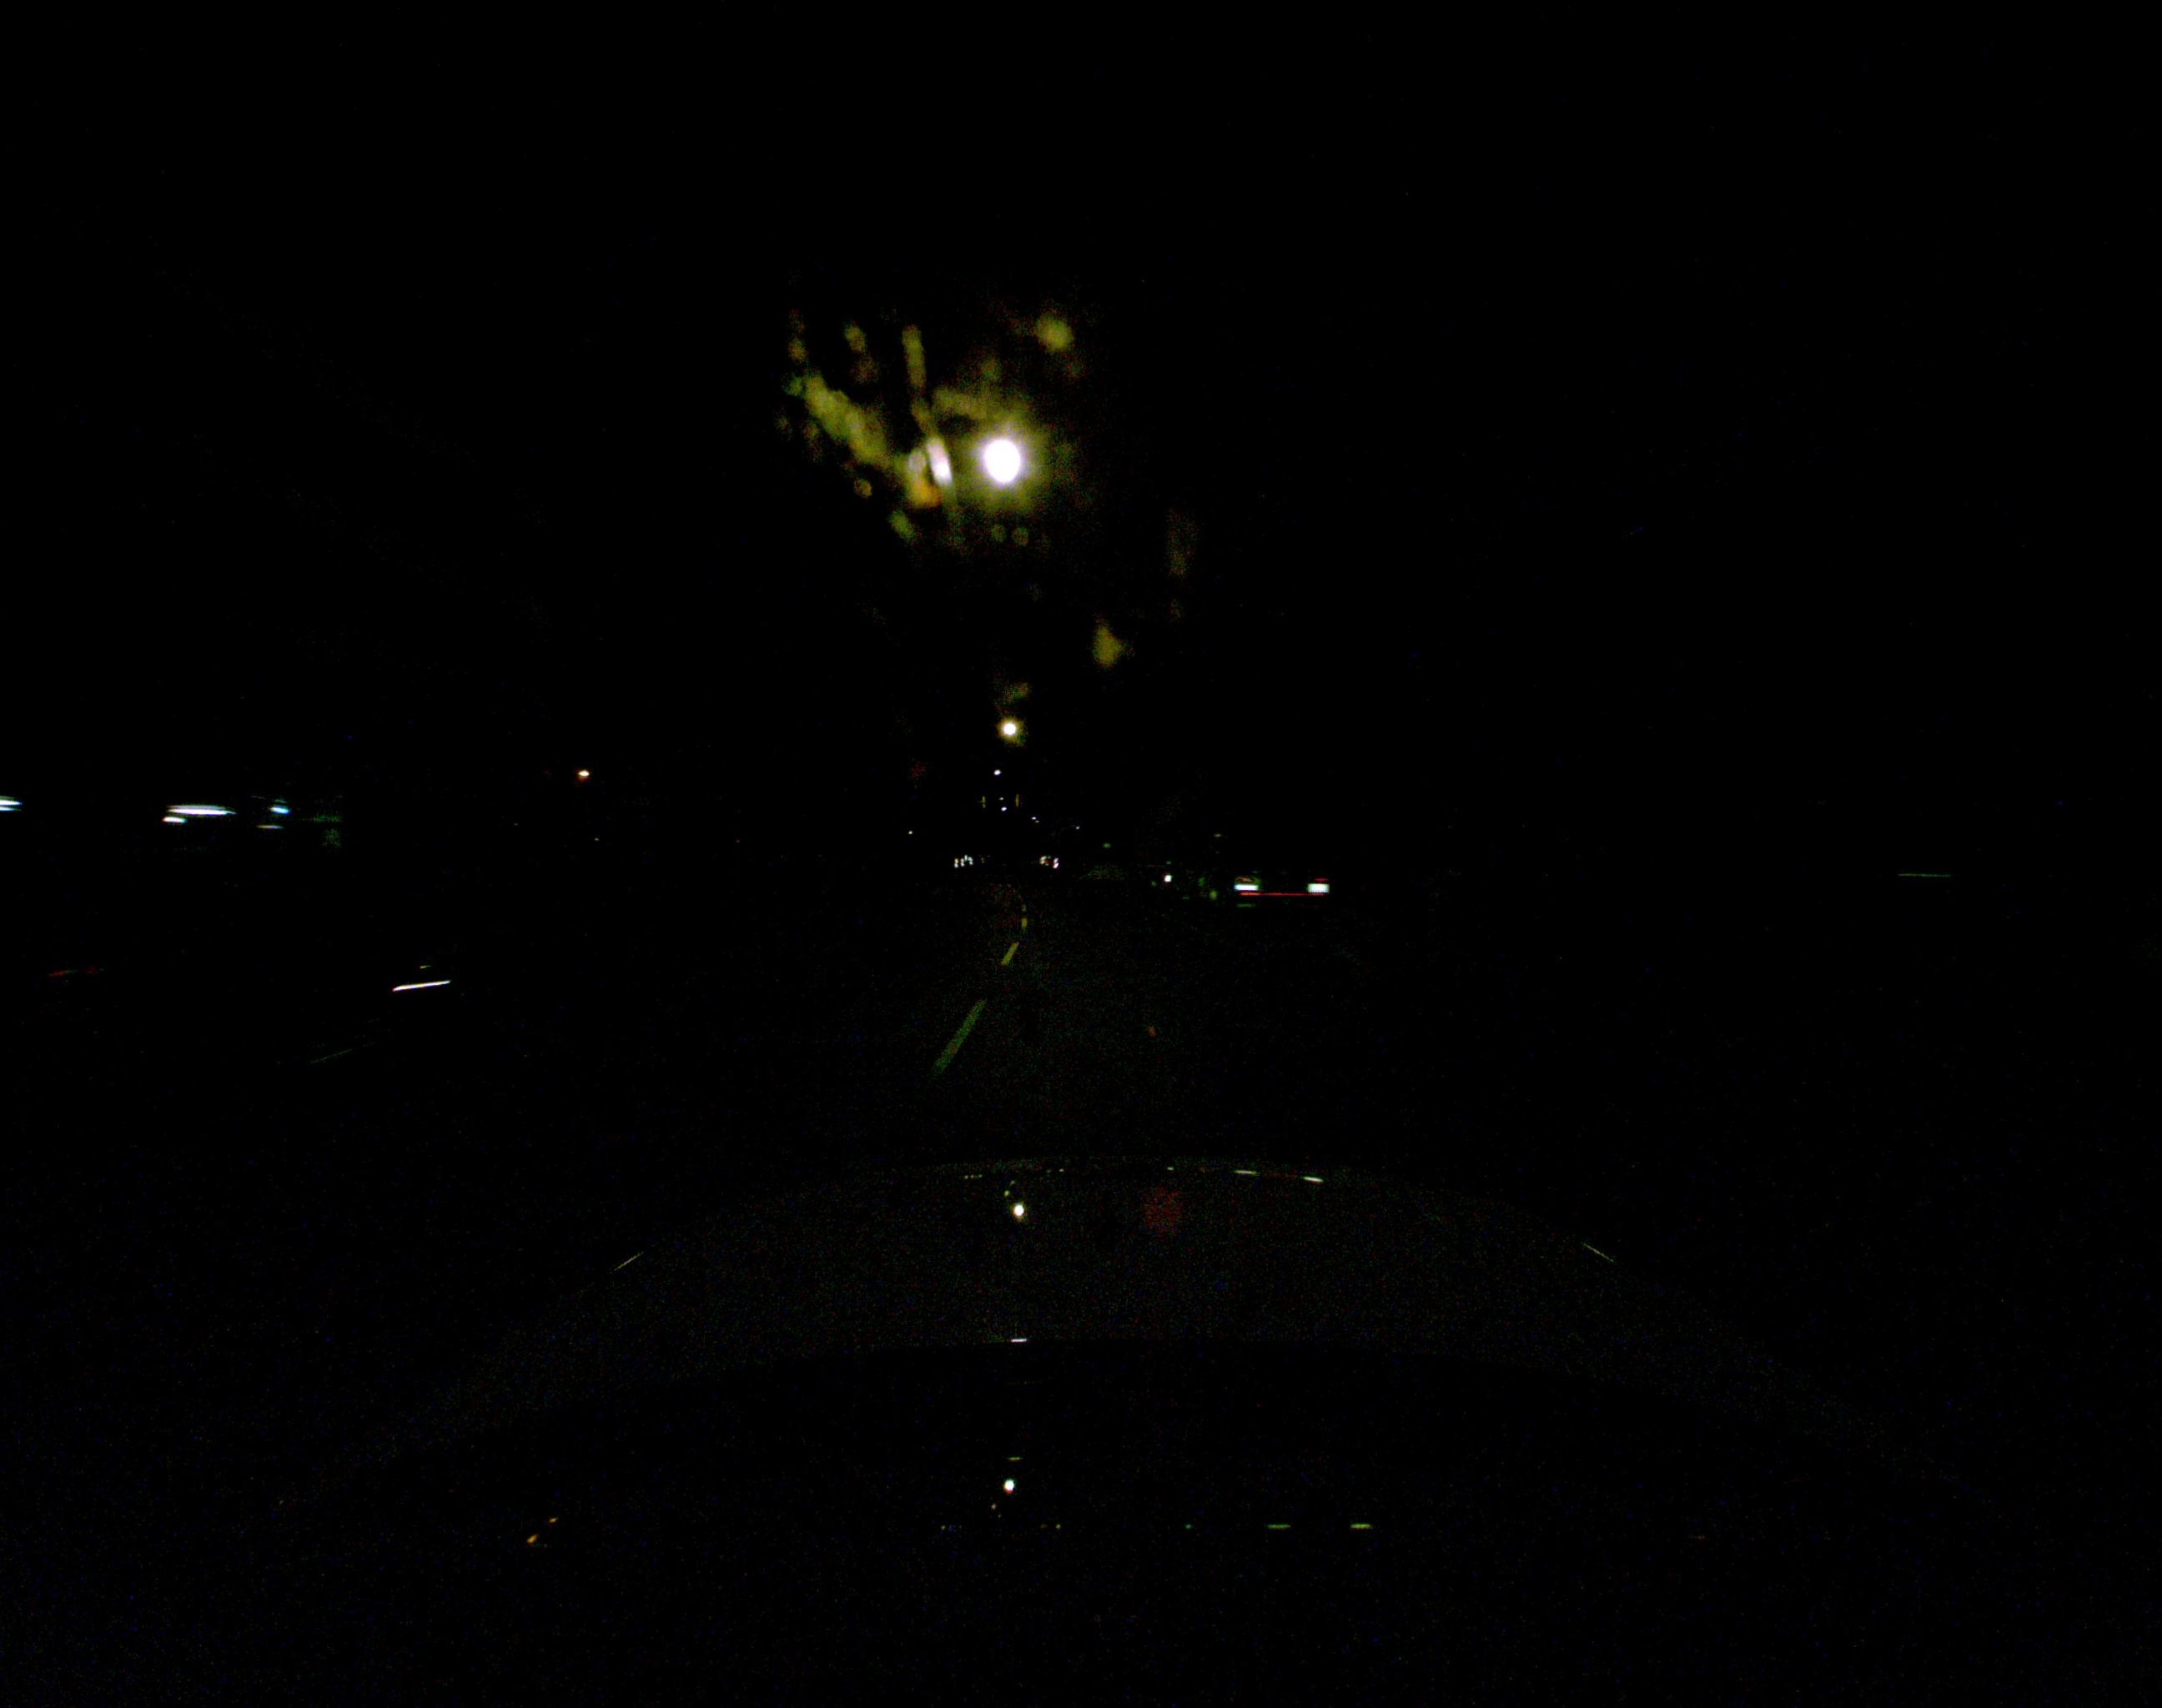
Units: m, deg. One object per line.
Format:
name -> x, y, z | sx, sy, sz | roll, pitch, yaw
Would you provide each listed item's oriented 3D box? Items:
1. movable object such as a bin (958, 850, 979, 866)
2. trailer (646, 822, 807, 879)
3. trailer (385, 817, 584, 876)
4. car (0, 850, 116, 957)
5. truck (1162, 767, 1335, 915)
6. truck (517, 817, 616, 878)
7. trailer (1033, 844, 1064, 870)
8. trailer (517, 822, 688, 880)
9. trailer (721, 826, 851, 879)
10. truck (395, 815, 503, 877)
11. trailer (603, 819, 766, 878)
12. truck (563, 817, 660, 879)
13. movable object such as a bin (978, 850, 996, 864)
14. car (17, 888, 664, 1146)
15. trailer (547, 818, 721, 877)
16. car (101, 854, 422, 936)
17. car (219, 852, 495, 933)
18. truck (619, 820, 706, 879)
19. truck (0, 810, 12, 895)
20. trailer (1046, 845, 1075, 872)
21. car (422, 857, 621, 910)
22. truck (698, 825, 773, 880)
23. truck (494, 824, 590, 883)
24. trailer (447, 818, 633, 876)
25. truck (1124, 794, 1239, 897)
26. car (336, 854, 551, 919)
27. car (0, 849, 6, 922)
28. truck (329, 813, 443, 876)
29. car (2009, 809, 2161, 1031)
movable object such as a bin -> -17.486, 0.562, 126.619 | 1.983, 2.376, 4.711 | -2, 0, 7
trailer -> -28.546, -0.259, 67.123 | 3.034, 4.148, 15.068 | 0, 0, 17
trailer -> -48.937, -0.567, 68.017 | 3.037, 4.357, 15.053 | 0, 0, 12
car -> -16.202, 0.671, 10.897 | 4.255, 1.394, 1.826 | -1, 0, -2
truck -> 4.806, -0.325, 25.620 | 2.751, 3.783, 9.120 | -1, 0, -5
truck -> -38.421, -0.483, 61.059 | 3.035, 4.357, 5.589 | 0, 0, 15
trailer -> -4.285, 0.380, 105.086 | 3.480, 3.219, 4.850 | 1, -1, -9
trailer -> -40.158, -0.214, 69.595 | 3.037, 4.357, 15.055 | 0, 0, 13
trailer -> -24.033, -0.107, 67.884 | 3.039, 3.932, 15.044 | 0, 0, 10
truck -> -46.575, -0.554, 60.208 | 3.037, 4.357, 5.585 | 0, 0, 12
trailer -> -32.462, -0.415, 68.097 | 3.035, 4.357, 15.064 | 0, 0, 15
truck -> -34.619, -0.426, 60.306 | 3.035, 4.357, 5.589 | 0, 0, 15
movable object such as a bin -> -16.013, 0.510, 139.355 | 1.983, 2.376, 4.711 | -2, 0, 7
car -> -5.662, 1.085, 7.195 | 1.810, 1.371, 4.357 | -1, 0, -2
trailer -> -36.525, -0.470, 67.950 | 3.035, 4.357, 15.063 | 0, 0, 15
car -> -16.052, 0.762, 16.149 | 4.392, 1.478, 1.850 | -1, 0, -2
car -> -16.349, 0.829, 18.604 | 4.394, 1.681, 1.960 | -1, 0, -3
truck -> -30.697, -0.329, 59.993 | 3.034, 4.148, 4.957 | 0, 0, 17
truck -> -63.795, 0.030, 41.791 | 12.520, 4.550, 3.576 | -1, 0, -2
trailer -> -2.275, 0.499, 90.360 | 2.613, 2.846, 4.694 | 1, -1, -9
car -> -16.411, 0.837, 24.072 | 4.432, 1.452, 2.062 | -1, 0, 1
truck -> -25.425, -0.105, 60.117 | 3.039, 3.932, 4.515 | 0, 0, 10
truck -> -41.621, -0.046, 63.126 | 3.037, 4.357, 5.585 | 0, 0, 12
trailer -> -44.736, -0.531, 68.503 | 3.037, 4.357, 15.053 | 0, 0, 12
truck -> 4.031, -0.297, 35.508 | 2.751, 3.783, 10.204 | -1, 0, -6
car -> -16.591, 0.809, 21.369 | 4.121, 1.579, 1.840 | -1, 0, -2
car -> -25.121, 0.708, 16.161 | 1.987, 1.641, 4.201 | 0, 0, -1
truck -> -50.744, -0.670, 59.685 | 3.037, 4.357, 5.585 | 0, 0, 12
car -> 10.308, 0.390, 6.372 | 4.321, 1.646, 1.888 | -3, 0, -7
